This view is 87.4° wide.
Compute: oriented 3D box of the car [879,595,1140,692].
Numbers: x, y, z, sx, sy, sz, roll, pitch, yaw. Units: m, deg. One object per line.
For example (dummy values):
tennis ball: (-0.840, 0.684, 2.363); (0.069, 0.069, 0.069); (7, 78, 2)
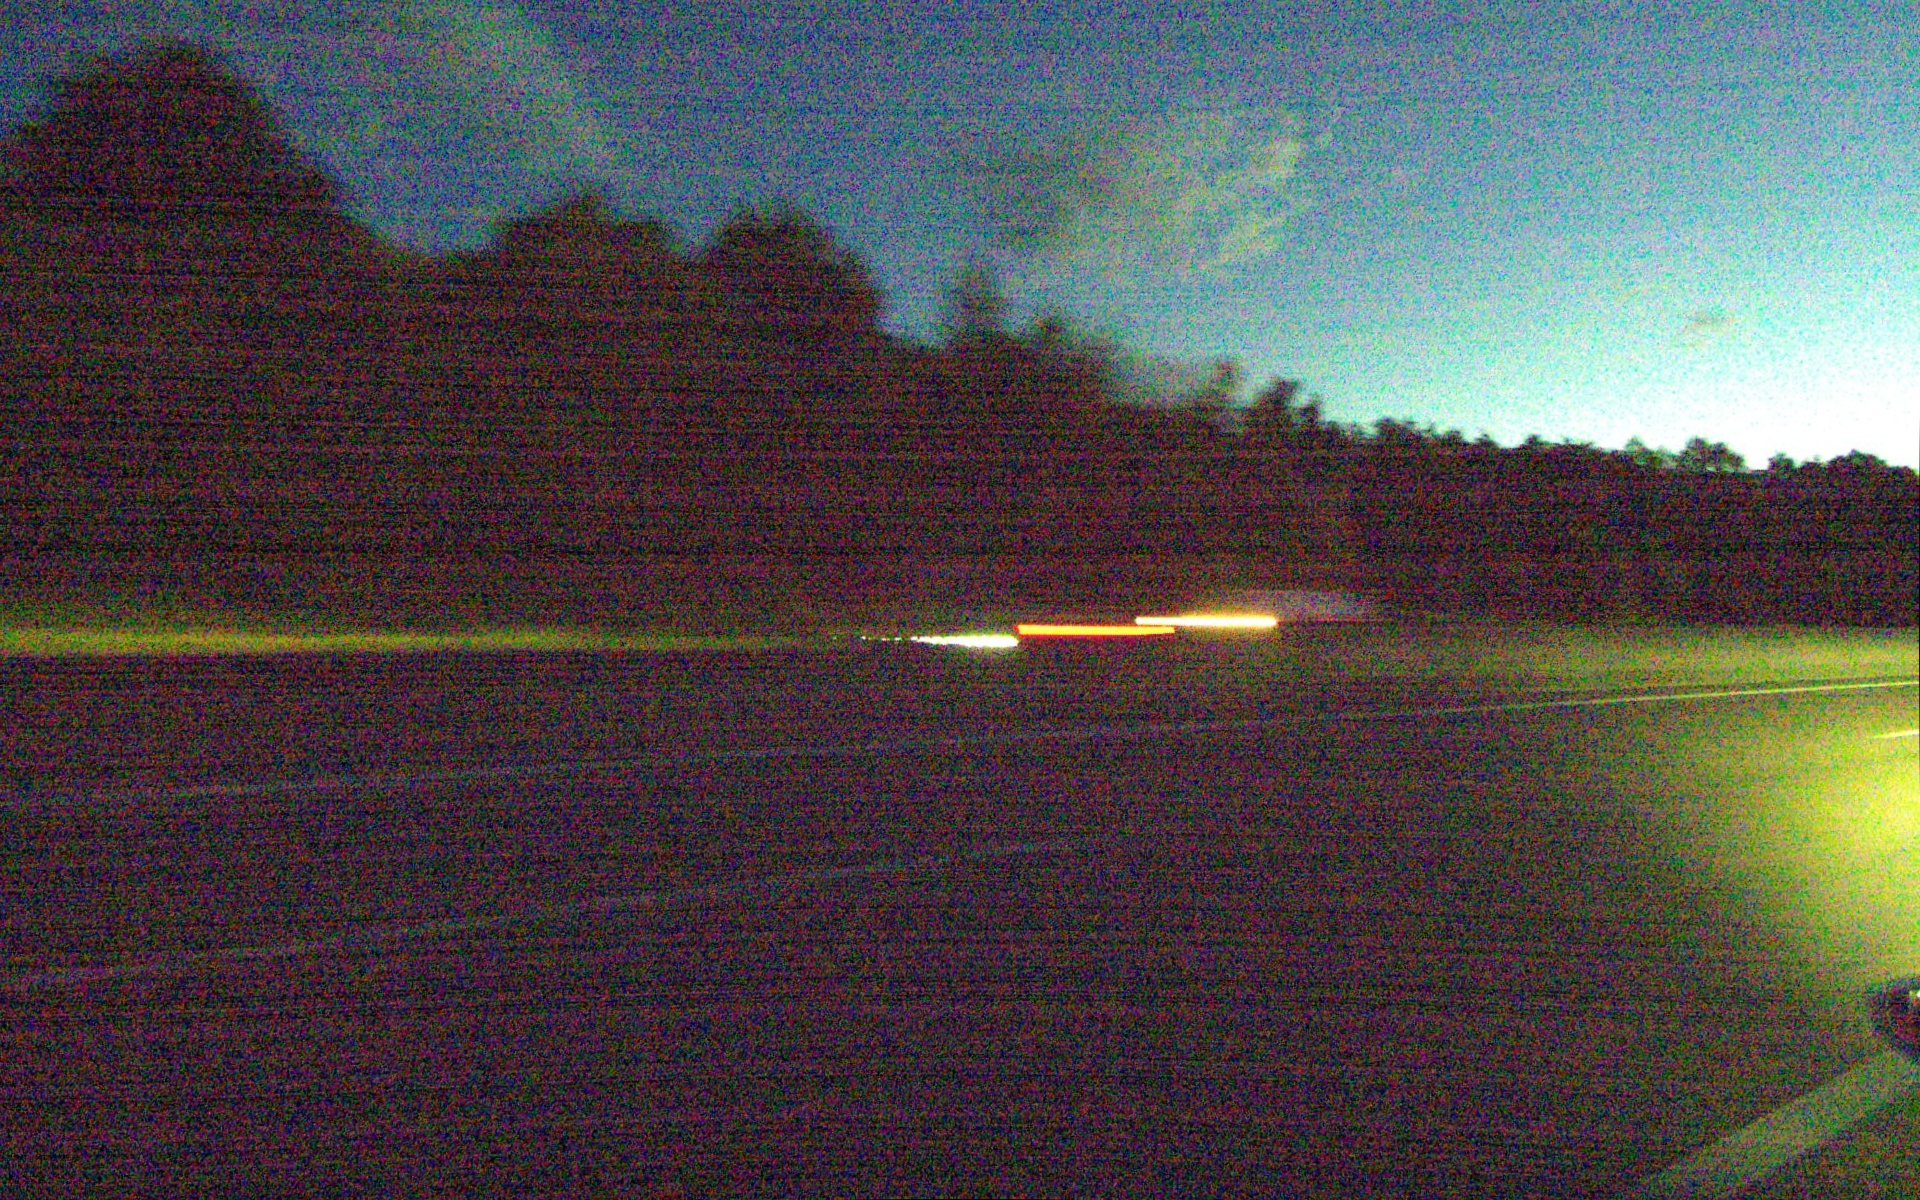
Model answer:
car: (0.902, 0.740, 17.640); (4.225, 1.525, 1.893); (2, -1, -31)

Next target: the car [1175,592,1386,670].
car: (8.432, 0.814, 26.230); (5.620, 1.845, 1.984); (2, -1, -30)
